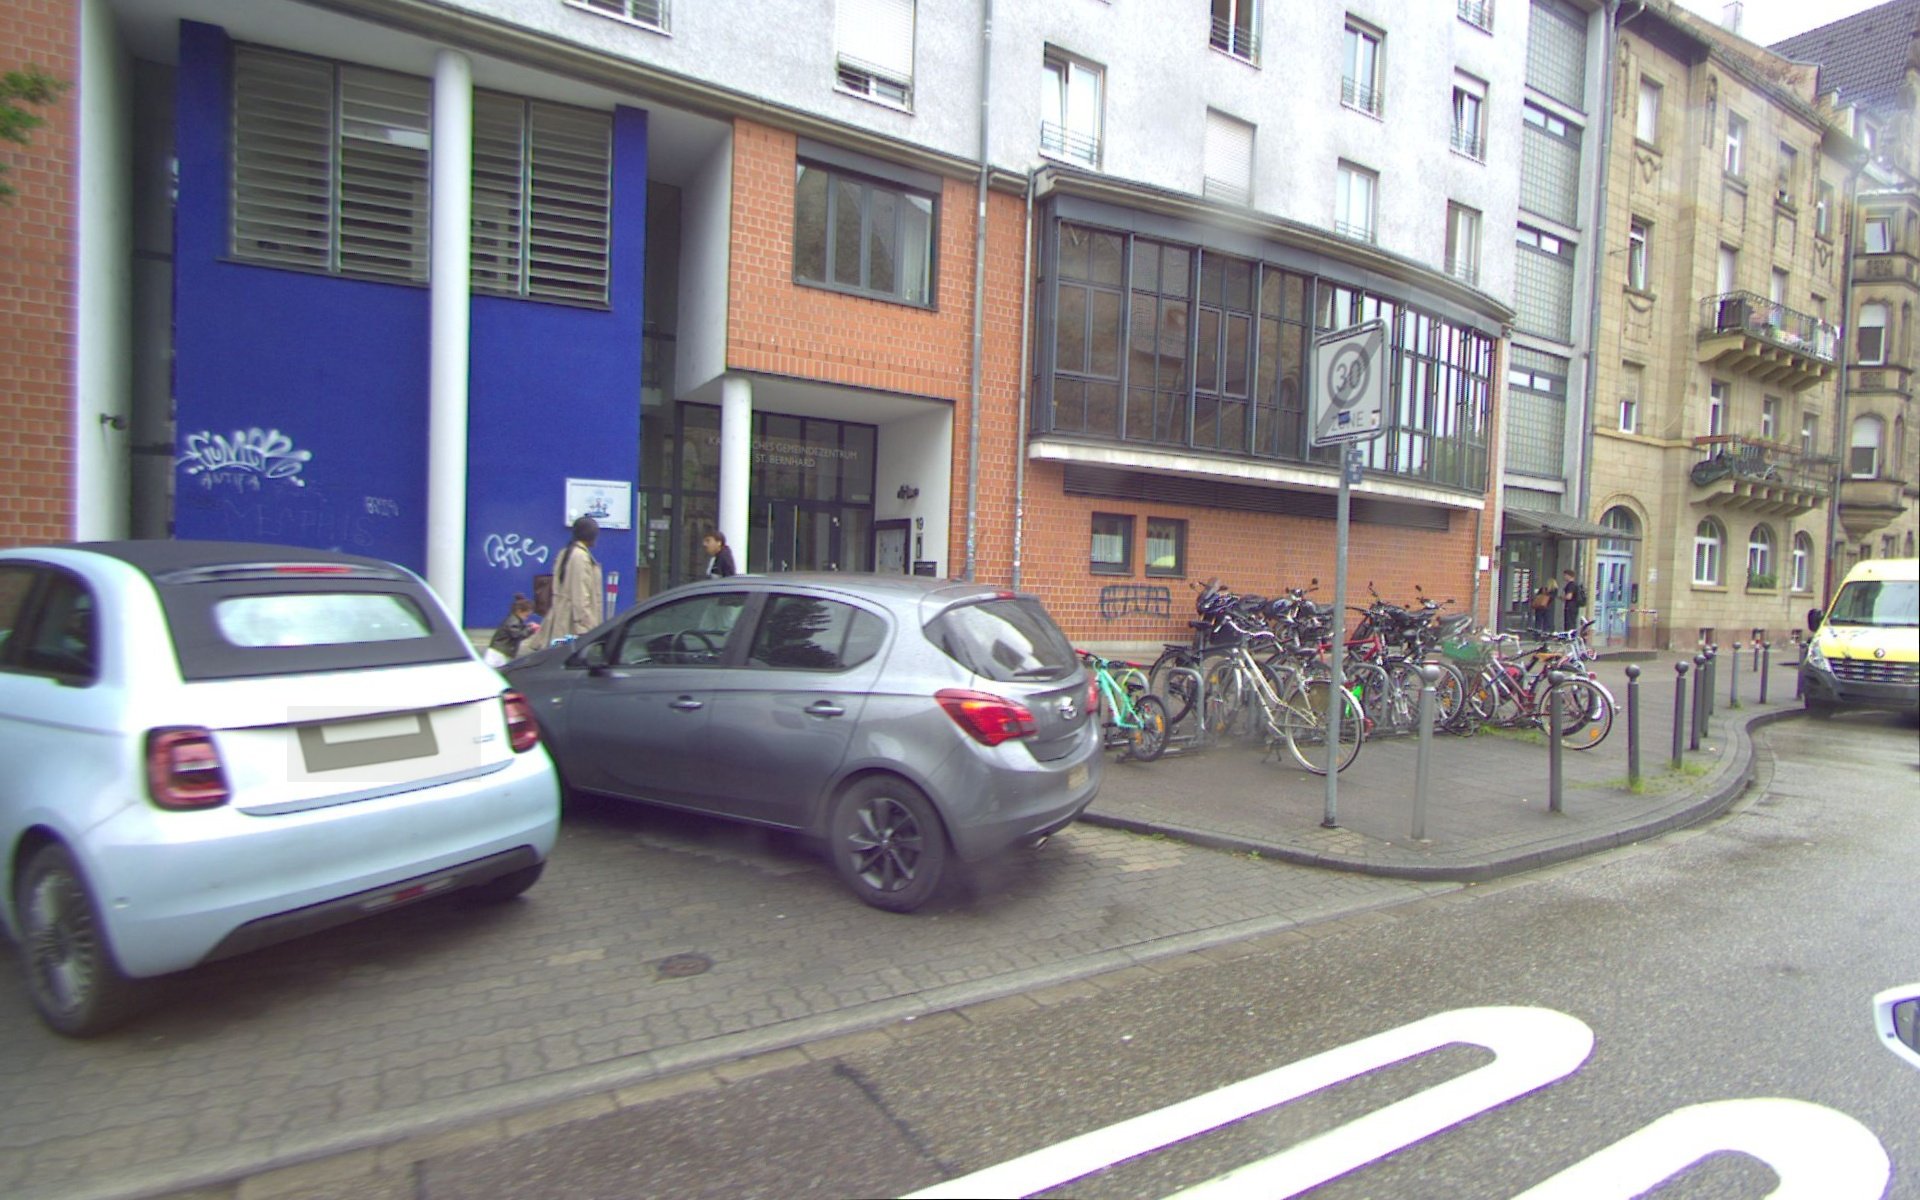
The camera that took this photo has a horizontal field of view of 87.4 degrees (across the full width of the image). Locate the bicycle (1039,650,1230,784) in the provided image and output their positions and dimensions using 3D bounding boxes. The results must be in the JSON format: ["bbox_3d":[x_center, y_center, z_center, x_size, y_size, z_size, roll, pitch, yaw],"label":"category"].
[{"bbox_3d":[1.330,0.872,7.987,0.500,0.780,1.714,1,3,-29],"label":"bicycle"}]

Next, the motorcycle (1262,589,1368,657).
[{"bbox_3d":[6.711,0.425,18.970,2.094,1.190,0.748,1,4,-35],"label":"motorcycle"}]

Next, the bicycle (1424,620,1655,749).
[{"bbox_3d":[6.161,0.844,10.832,0.587,1.112,2.106,1,3,-30],"label":"bicycle"}]

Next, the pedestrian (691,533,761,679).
[{"bbox_3d":[-2.633,0.054,11.258,0.599,1.572,0.707,1,4,-24],"label":"pedestrian"}]

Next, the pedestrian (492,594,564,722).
[{"bbox_3d":[-3.698,0.482,8.594,0.534,1.031,0.469,1,4,-24],"label":"pedestrian"}]

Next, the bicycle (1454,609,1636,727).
[{"bbox_3d":[7.078,0.791,12.255,1.778,1.229,0.631,5,2,24],"label":"bicycle"}]

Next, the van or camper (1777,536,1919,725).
[{"bbox_3d":[15.605,0.605,15.853,6.799,2.564,2.110,4,-4,-32],"label":"van or camper"}]

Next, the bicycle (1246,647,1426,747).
[{"bbox_3d":[3.667,0.915,9.937,0.500,0.741,1.714,1,3,-30],"label":"bicycle"}]

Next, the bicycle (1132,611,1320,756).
[{"bbox_3d":[2.395,0.709,9.249,0.501,1.112,1.710,1,3,-35],"label":"bicycle"}]

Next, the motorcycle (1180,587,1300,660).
[{"bbox_3d":[4.959,0.413,17.752,2.091,1.190,0.749,1,4,-31],"label":"motorcycle"}]

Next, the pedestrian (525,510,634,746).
[{"bbox_3d":[-3.072,0.196,8.062,0.746,1.776,0.822,1,4,-24],"label":"pedestrian"}]

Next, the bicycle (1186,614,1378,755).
[{"bbox_3d":[3.005,0.747,9.544,0.502,1.112,1.708,0,3,-38],"label":"bicycle"}]

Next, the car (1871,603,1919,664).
[{"bbox_3d":[27.175,1.003,26.923,3.595,1.579,1.798,4,2,23],"label":"car"}]

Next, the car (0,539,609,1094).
[{"bbox_3d":[-3.360,0.538,4.335,3.325,1.527,1.678,3,2,29],"label":"car"}]

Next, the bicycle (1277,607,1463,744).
[{"bbox_3d":[4.139,0.716,10.293,0.560,1.183,1.795,1,3,-26],"label":"bicycle"}]

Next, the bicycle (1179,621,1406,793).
[{"bbox_3d":[2.591,0.784,8.020,0.501,1.112,1.710,1,3,-35],"label":"bicycle"}]

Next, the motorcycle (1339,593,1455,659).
[{"bbox_3d":[8.633,0.516,19.837,2.083,1.190,0.752,2,3,-19],"label":"motorcycle"}]

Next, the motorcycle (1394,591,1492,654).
[{"bbox_3d":[10.056,0.471,20.921,1.748,1.190,0.572,3,3,-8],"label":"motorcycle"}]

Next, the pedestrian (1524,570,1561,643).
[{"bbox_3d":[13.894,0.145,23.966,0.651,1.698,0.794,2,1,35],"label":"pedestrian"}]

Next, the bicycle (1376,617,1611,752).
[{"bbox_3d":[5.447,0.808,10.436,0.587,1.112,2.122,1,3,-30],"label":"bicycle"}]

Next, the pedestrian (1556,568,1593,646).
[{"bbox_3d":[14.432,0.160,23.578,0.651,1.781,0.794,2,1,35],"label":"pedestrian"}]

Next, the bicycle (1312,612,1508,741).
[{"bbox_3d":[4.676,0.749,10.592,0.500,1.112,1.904,1,3,-30],"label":"bicycle"}]

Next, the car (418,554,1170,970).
[{"bbox_3d":[-0.965,0.591,5.690,3.762,1.527,1.985,3,2,29],"label":"car"}]
